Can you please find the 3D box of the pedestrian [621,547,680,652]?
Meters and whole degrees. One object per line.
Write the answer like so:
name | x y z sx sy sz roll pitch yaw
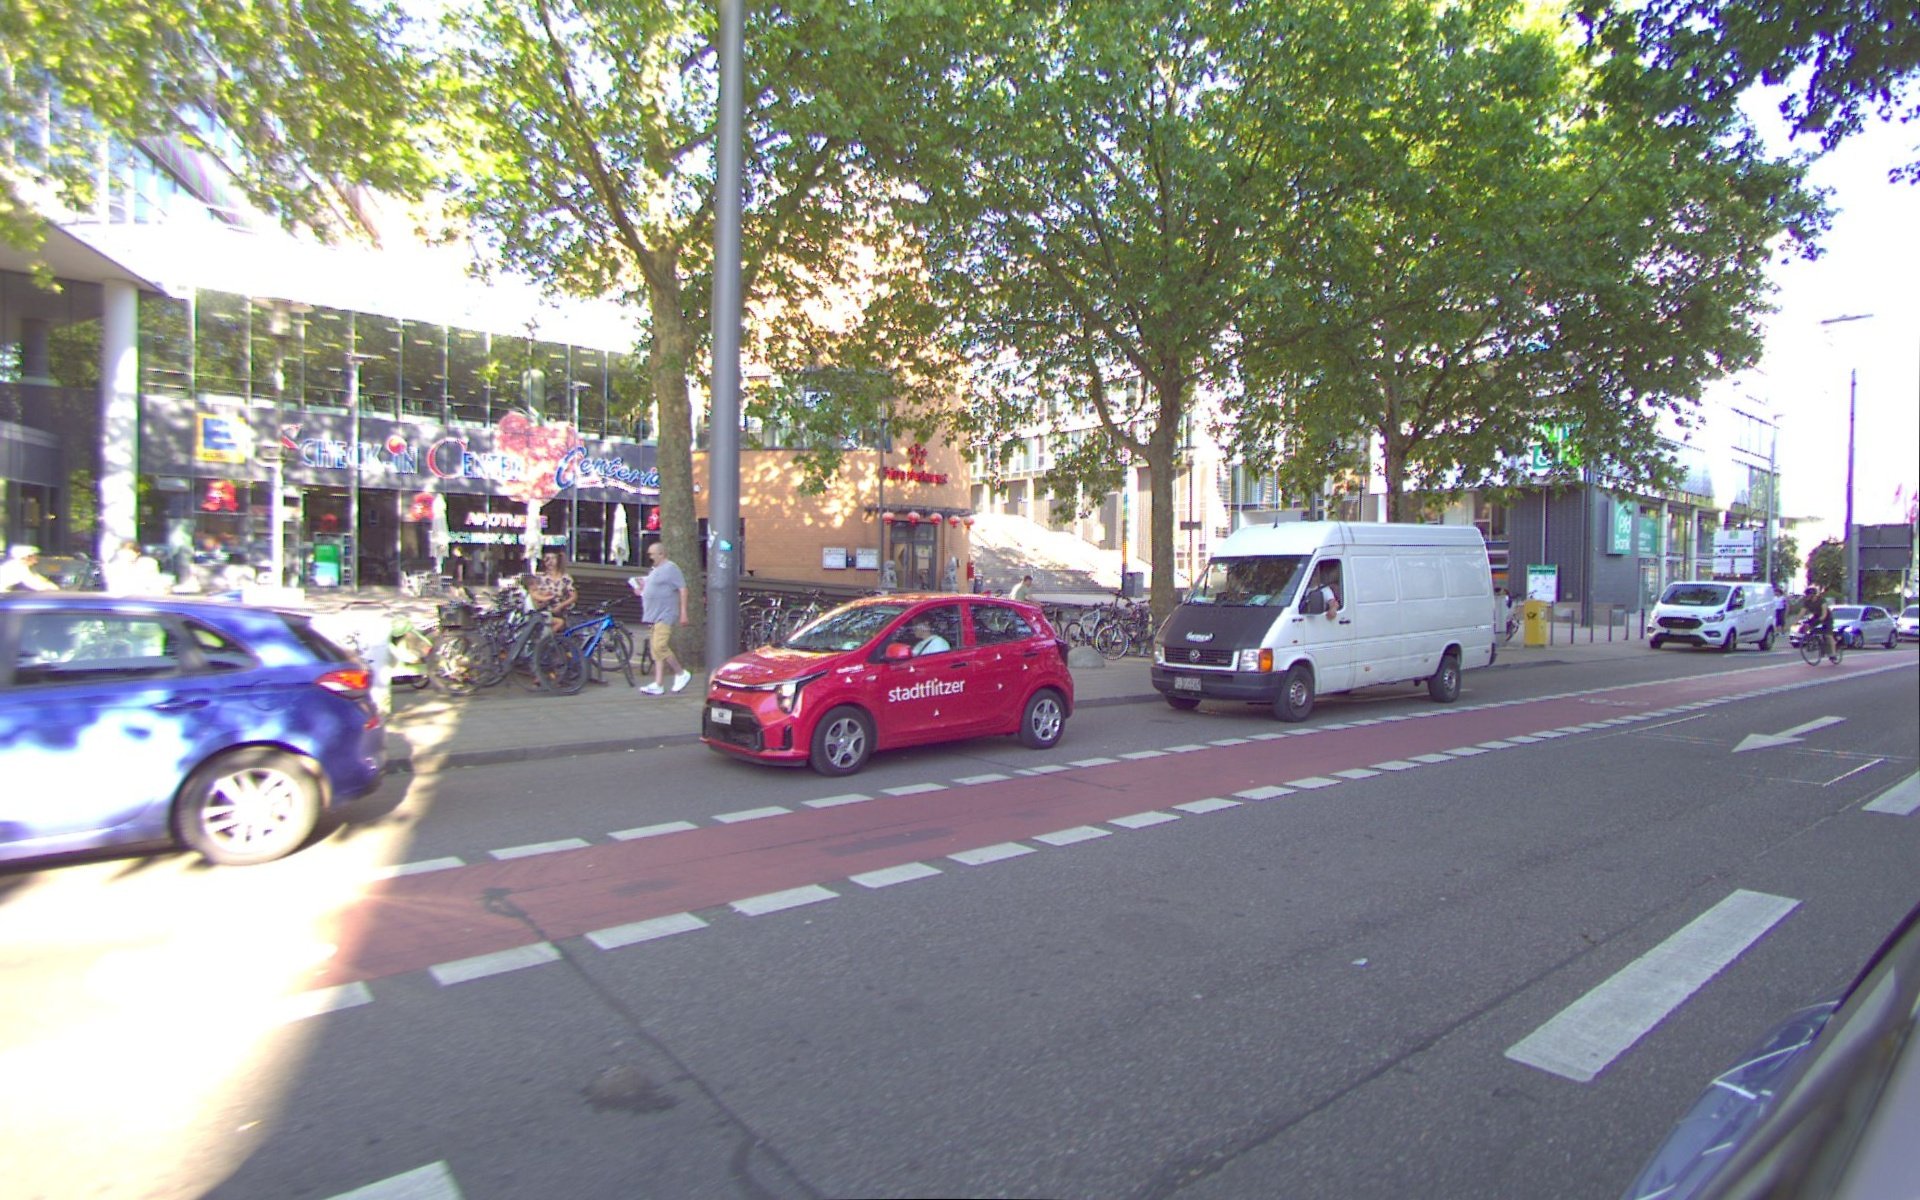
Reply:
pedestrian | -5.435 -0.021 17.749 0.756 1.779 0.820 0 1 -35

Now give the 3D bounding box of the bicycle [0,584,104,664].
bicycle | -13.762 0.343 14.846 1.741 1.140 0.569 0 1 -25

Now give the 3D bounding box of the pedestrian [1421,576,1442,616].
pedestrian | 20.255 -0.167 43.469 0.710 1.697 0.539 0 1 -41

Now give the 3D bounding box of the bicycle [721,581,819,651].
bicycle | -3.268 0.260 17.486 1.626 1.151 0.503 0 2 -41

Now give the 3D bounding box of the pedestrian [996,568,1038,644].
pedestrian | 1.266 0.112 22.555 0.623 1.651 0.719 0 1 -34

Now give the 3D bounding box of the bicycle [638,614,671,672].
bicycle | -4.527 0.625 15.017 0.391 0.770 1.114 1 1 -13

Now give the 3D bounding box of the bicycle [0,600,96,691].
bicycle | -11.101 0.527 11.954 1.293 1.038 0.397 0 1 -25

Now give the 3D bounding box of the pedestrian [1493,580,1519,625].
pedestrian | 19.552 0.083 36.237 0.625 1.562 0.579 0 1 -31

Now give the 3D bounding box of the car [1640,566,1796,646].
car | 22.184 0.119 29.562 5.189 2.160 2.130 0 2 -35

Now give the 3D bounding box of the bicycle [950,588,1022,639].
bicycle | 0.608 0.308 23.714 1.622 1.140 0.598 0 1 -33

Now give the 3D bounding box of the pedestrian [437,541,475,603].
pedestrian | -15.388 -0.858 30.928 0.834 1.866 1.002 0 1 -15

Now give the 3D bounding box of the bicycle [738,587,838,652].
bicycle | -2.880 0.303 17.052 1.626 1.044 0.503 0 2 -41

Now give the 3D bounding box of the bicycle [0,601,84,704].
bicycle | -10.102 0.546 10.473 1.546 1.038 0.461 -1 2 -44

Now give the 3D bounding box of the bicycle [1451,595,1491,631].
bicycle | 15.576 0.390 30.849 1.598 1.042 0.460 0 1 -39

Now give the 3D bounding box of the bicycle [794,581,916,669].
bicycle | -1.591 0.350 15.549 1.844 1.280 0.596 0 2 -41

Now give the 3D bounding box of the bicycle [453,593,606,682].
bicycle | -5.694 0.482 13.468 1.788 1.130 0.598 0 1 -13

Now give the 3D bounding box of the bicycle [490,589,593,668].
bicycle | -6.545 0.424 15.872 0.420 1.174 1.455 2 2 41

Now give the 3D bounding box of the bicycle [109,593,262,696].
bicycle | -9.356 0.508 12.256 1.451 1.174 0.421 0 1 -43

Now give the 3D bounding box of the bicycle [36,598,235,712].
bicycle | -8.469 0.531 10.481 1.542 1.070 0.630 0 1 -35

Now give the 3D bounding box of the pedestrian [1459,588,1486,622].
pedestrian | 19.021 0.183 37.558 0.664 1.236 0.616 0 1 -34

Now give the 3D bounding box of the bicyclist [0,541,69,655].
bicyclist | -13.709 -0.035 14.863 0.804 1.636 0.565 0 1 -25

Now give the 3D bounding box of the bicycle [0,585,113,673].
bicycle | -11.294 0.347 12.439 1.293 1.038 0.397 0 1 -25

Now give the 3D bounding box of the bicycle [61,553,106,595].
bicycle | -24.804 -0.750 28.671 0.705 1.142 1.921 0 2 -33

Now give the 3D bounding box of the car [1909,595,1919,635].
car | 37.934 0.567 39.006 3.803 1.482 1.669 -1 2 -43

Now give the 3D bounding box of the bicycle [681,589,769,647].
bicycle | -5.013 0.364 21.668 1.736 1.174 0.579 0 1 -34

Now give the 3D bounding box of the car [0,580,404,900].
car | -5.377 0.654 5.200 4.145 1.482 1.767 -1 2 -42

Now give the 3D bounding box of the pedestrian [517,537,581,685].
pedestrian | -5.191 0.121 12.816 0.644 1.808 0.810 1 1 -14

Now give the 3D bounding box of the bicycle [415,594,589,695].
bicycle | -5.374 0.506 11.966 1.788 1.130 0.598 0 1 -13

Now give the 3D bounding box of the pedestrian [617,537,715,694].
pedestrian | -3.544 0.161 12.195 0.872 1.808 0.796 2 1 43

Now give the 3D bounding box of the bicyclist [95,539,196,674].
bicyclist | -11.138 0.081 13.869 0.834 1.789 0.754 1 1 -12

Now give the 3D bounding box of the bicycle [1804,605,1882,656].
bicycle | 20.536 0.694 23.522 2.083 1.135 0.552 0 1 -25

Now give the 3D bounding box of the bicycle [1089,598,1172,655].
bicycle | 3.377 0.506 20.002 1.622 1.060 0.598 0 1 -33

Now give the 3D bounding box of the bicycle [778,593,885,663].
bicycle | -2.025 0.415 16.042 1.626 1.044 0.596 0 2 -41

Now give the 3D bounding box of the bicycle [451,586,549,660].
bicycle | -7.648 0.363 16.865 0.420 1.174 1.455 2 2 41

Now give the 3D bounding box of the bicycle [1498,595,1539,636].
bicycle | 16.390 0.434 29.664 1.512 1.173 0.514 0 1 -39

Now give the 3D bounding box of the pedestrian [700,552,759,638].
pedestrian | -4.954 -0.118 21.717 1.000 1.779 0.789 0 1 -35

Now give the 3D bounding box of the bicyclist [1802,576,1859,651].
bicyclist | 20.443 0.302 23.780 0.699 1.709 0.754 0 1 -23

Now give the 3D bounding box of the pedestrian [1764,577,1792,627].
pedestrian | 30.693 0.065 37.964 0.879 1.831 0.591 0 2 -38

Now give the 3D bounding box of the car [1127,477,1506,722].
car | 5.252 -0.025 14.233 6.444 2.759 1.997 0 0 -40

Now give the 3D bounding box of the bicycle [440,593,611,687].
bicycle | -5.444 0.488 12.771 1.908 1.130 0.598 0 1 -13

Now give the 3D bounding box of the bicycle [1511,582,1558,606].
bicycle | 28.183 -0.298 49.658 0.687 1.076 1.879 0 2 -39

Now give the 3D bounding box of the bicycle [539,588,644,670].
bicycle | -5.566 0.413 15.351 0.477 1.174 1.455 2 2 41

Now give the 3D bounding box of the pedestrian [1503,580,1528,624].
pedestrian | 20.145 0.066 36.681 0.623 1.541 0.517 0 1 -31

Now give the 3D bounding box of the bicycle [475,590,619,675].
bicycle | -5.760 0.445 14.204 1.788 1.130 0.610 0 1 -13

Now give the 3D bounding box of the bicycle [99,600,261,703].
bicycle | -8.976 0.564 11.676 1.451 1.095 0.421 0 2 -43

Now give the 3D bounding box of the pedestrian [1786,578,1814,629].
pedestrian | 31.122 0.127 37.494 0.875 1.831 0.565 0 2 -38

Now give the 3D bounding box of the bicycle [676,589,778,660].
bicycle | -4.033 0.402 17.583 1.662 1.174 0.479 0 1 -37

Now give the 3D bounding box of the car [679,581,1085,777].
car | -0.607 0.572 9.389 3.558 1.482 1.561 -1 1 -41

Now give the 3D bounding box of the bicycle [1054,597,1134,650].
bicycle | 2.792 0.474 21.039 1.622 1.060 0.598 0 1 -33

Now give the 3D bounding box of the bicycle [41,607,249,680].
bicycle | -11.123 0.582 13.883 2.138 0.945 0.669 0 1 -13

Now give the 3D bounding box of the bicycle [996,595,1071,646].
bicycle | 1.611 0.439 22.129 1.623 1.060 0.597 0 1 -35

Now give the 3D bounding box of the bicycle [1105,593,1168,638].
bicycle | 4.376 0.360 25.057 1.624 1.060 0.597 0 1 -37

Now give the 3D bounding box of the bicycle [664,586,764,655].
bicycle | -4.366 0.345 18.012 1.662 1.174 0.479 0 1 -37

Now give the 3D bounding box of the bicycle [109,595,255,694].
bicycle | -9.876 0.533 12.875 1.450 1.174 0.421 0 1 -40

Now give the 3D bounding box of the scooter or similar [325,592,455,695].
scooter or similar | -6.924 0.516 12.294 1.249 1.156 0.905 -3 0 36

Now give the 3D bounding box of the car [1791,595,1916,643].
car | 29.482 0.585 33.366 3.940 1.437 1.790 0 2 -28

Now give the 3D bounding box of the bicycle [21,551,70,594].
bicycle | -25.481 -0.765 28.218 0.705 1.142 1.921 0 2 -33

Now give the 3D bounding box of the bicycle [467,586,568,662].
bicycle | -7.149 0.364 16.400 0.420 1.174 1.455 2 2 41

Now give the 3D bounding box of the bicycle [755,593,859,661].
bicycle | -2.488 0.421 16.541 1.626 1.044 0.596 0 2 -41
